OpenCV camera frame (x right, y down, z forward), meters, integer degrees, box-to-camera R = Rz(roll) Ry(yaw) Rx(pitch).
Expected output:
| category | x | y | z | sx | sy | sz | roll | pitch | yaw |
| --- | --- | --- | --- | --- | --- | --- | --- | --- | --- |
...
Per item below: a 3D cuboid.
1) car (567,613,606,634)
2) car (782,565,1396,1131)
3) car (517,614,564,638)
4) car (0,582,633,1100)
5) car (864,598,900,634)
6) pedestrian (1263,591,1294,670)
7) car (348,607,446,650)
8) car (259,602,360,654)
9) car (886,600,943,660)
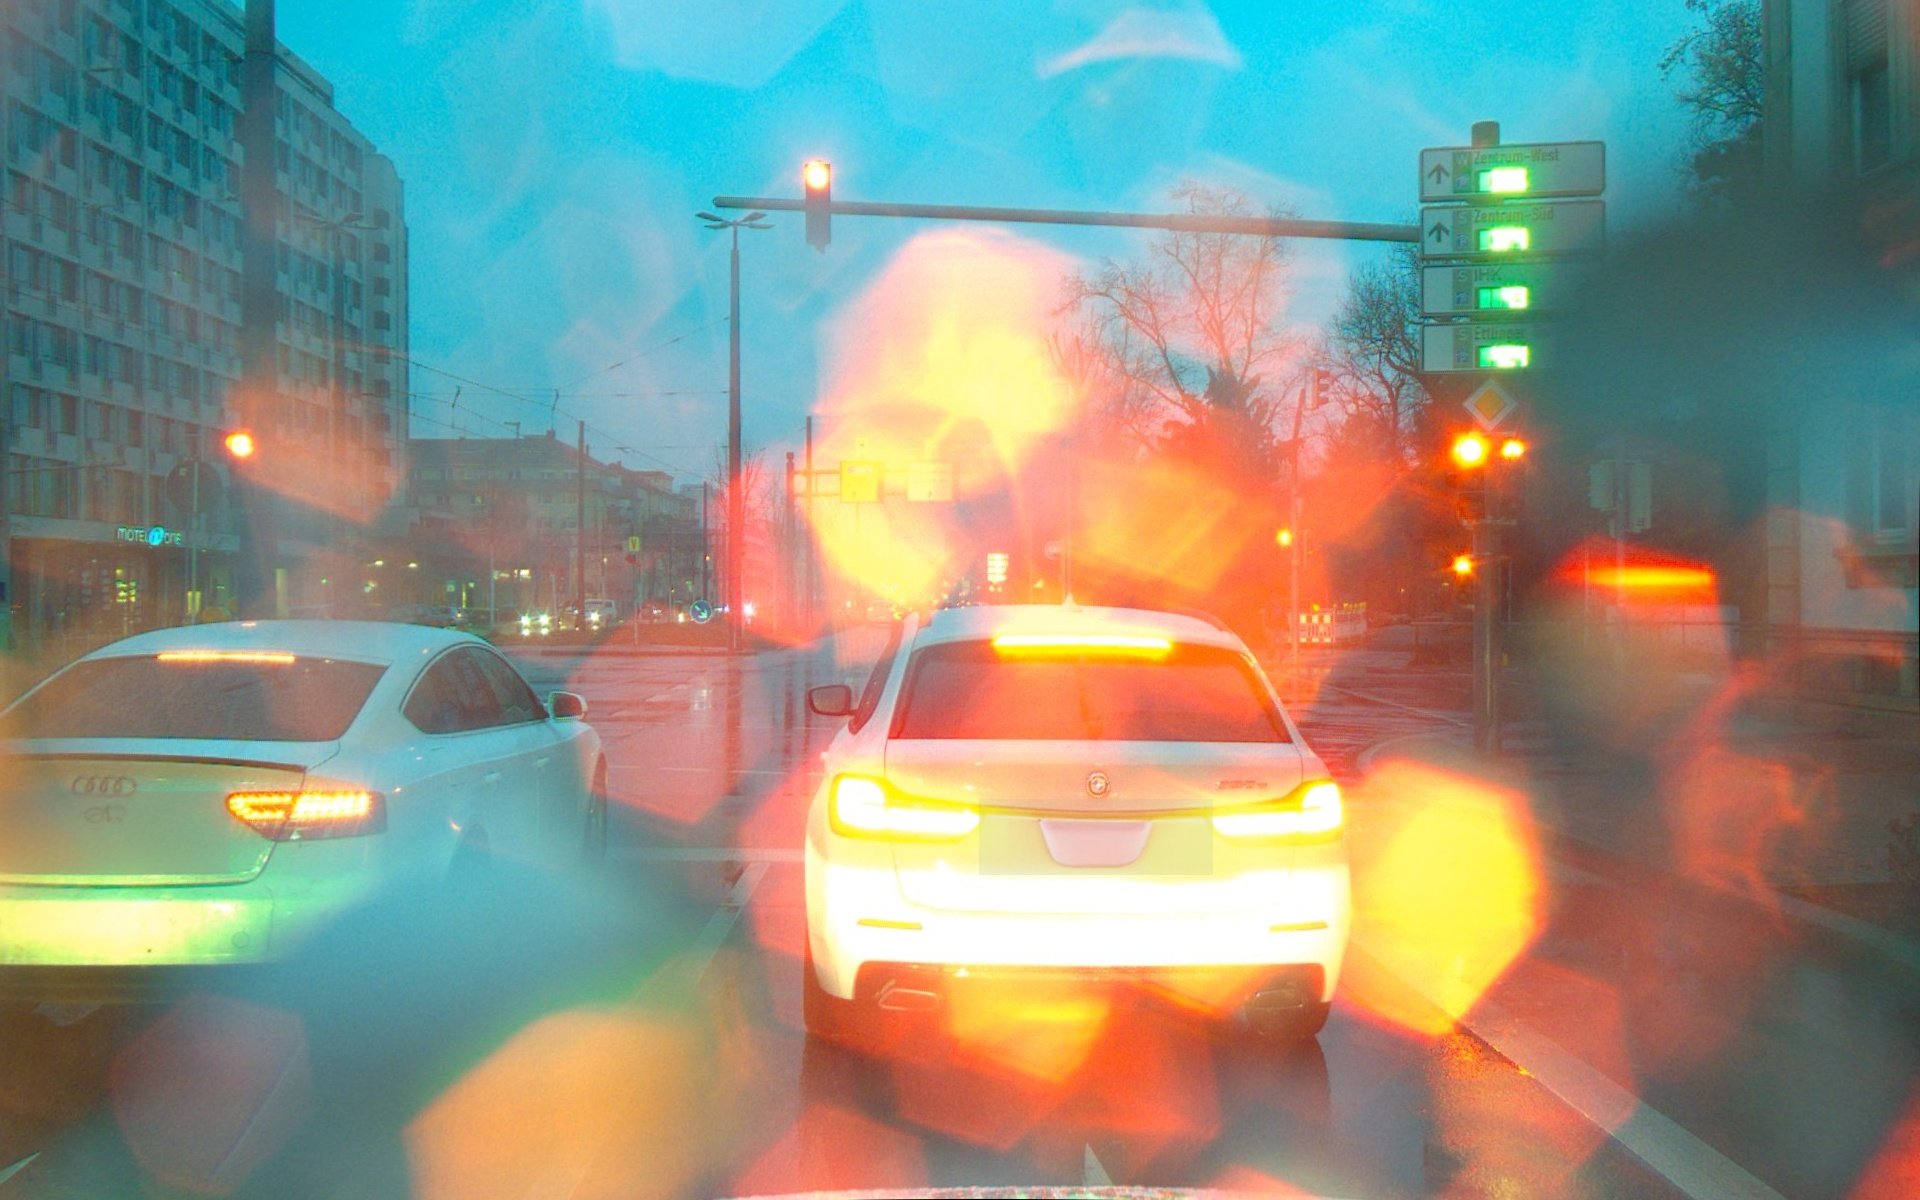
| category | x | y | z | sx | sy | sz | roll | pitch | yaw |
| --- | --- | --- | --- | --- | --- | --- | --- | --- | --- |
| car | -27.604 | 1.727 | 122.395 | 1.954 | 1.487 | 5.092 | 1 | 0 | -3 |
| car | 0.270 | 0.716 | 6.797 | 1.724 | 1.580 | 4.249 | 1 | 0 | -3 |
| car | -27.549 | 1.668 | 108.709 | 1.954 | 1.487 | 5.092 | 1 | 0 | -3 |
| car | -2.568 | 0.709 | 6.926 | 1.724 | 1.495 | 4.249 | 1 | 0 | -3 |
| car | -4.586 | 0.917 | 97.664 | 1.953 | 2.049 | 3.999 | 1 | 0 | -1 |
| pedestrian | 7.771 | 0.739 | 40.330 | 0.697 | 1.912 | 0.675 | 1 | -1 | 13 |
| car | -21.003 | 1.030 | 61.881 | 1.953 | 1.487 | 5.094 | 1 | 0 | -1 |
| car | -24.089 | 1.003 | 61.406 | 1.842 | 1.821 | 4.599 | 1 | 0 | 1 |
| car | -1.606 | 1.059 | 59.474 | 1.953 | 2.049 | 3.999 | 1 | 0 | -1 |
